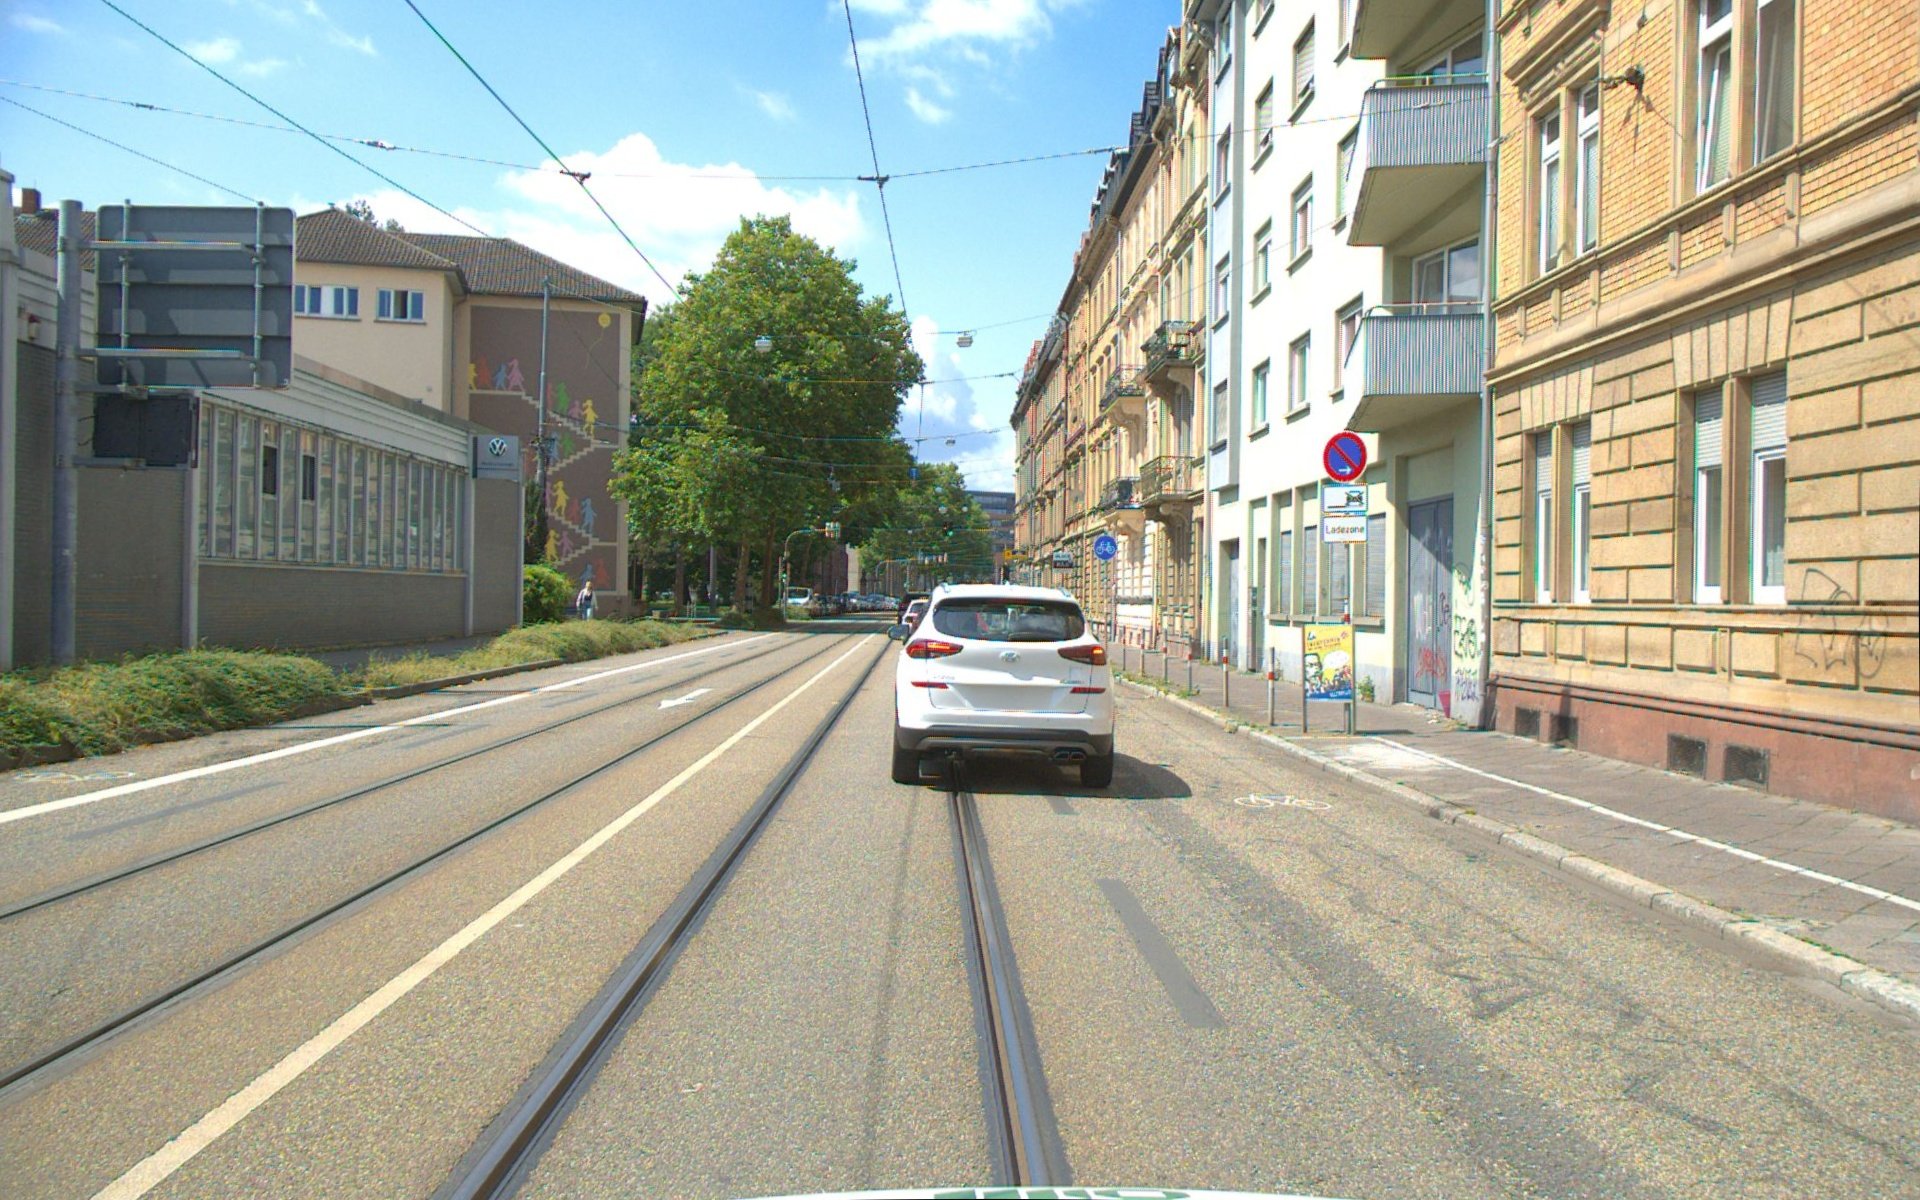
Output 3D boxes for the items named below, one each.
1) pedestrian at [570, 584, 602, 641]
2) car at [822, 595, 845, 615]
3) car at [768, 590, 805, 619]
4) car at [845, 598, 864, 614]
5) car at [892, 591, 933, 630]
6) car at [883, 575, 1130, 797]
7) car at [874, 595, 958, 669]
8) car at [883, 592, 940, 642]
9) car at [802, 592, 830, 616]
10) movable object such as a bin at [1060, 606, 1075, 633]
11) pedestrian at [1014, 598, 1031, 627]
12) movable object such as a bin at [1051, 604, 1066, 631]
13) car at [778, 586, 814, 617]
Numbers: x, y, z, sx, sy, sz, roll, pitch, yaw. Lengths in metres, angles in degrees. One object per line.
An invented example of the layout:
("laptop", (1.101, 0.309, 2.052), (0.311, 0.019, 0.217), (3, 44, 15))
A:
("pedestrian", (-12.643, 0.412, 55.946), (0.862, 1.898, 1.080), (0, 0, -1))
("car", (-10.748, 0.437, 140.661), (1.911, 1.660, 3.997), (1, 0, -4))
("car", (-10.655, 0.278, 101.805), (1.910, 1.660, 4.574), (1, 0, -1))
("car", (-10.970, 0.602, 171.910), (1.911, 1.660, 3.997), (1, 0, -4))
("car", (-2.138, 0.474, 74.870), (1.778, 1.691, 4.084), (1, 0, -1))
("car", (0.271, 0.666, 14.949), (1.815, 1.662, 4.177), (2, 0, -4))
("car", (-0.938, 0.675, 37.145), (1.777, 1.551, 4.085), (0, 0, 0))
("car", (-1.566, 0.539, 54.161), (1.778, 1.551, 3.954), (1, 0, -1))
("car", (-10.708, 0.288, 122.957), (1.911, 1.660, 3.997), (1, 0, -4))
("movable object such as a bin", (4.690, 0.864, 72.242), (0.600, 1.163, 0.638), (1, 0, -1))
("pedestrian", (3.535, 0.690, 93.657), (0.919, 1.600, 1.049), (1, 0, -1))
("movable object such as a bin", (4.402, 0.768, 73.665), (0.600, 1.163, 0.638), (1, 0, -1))
("car", (-10.651, 0.072, 107.542), (1.910, 1.928, 4.564), (1, 0, -1))
